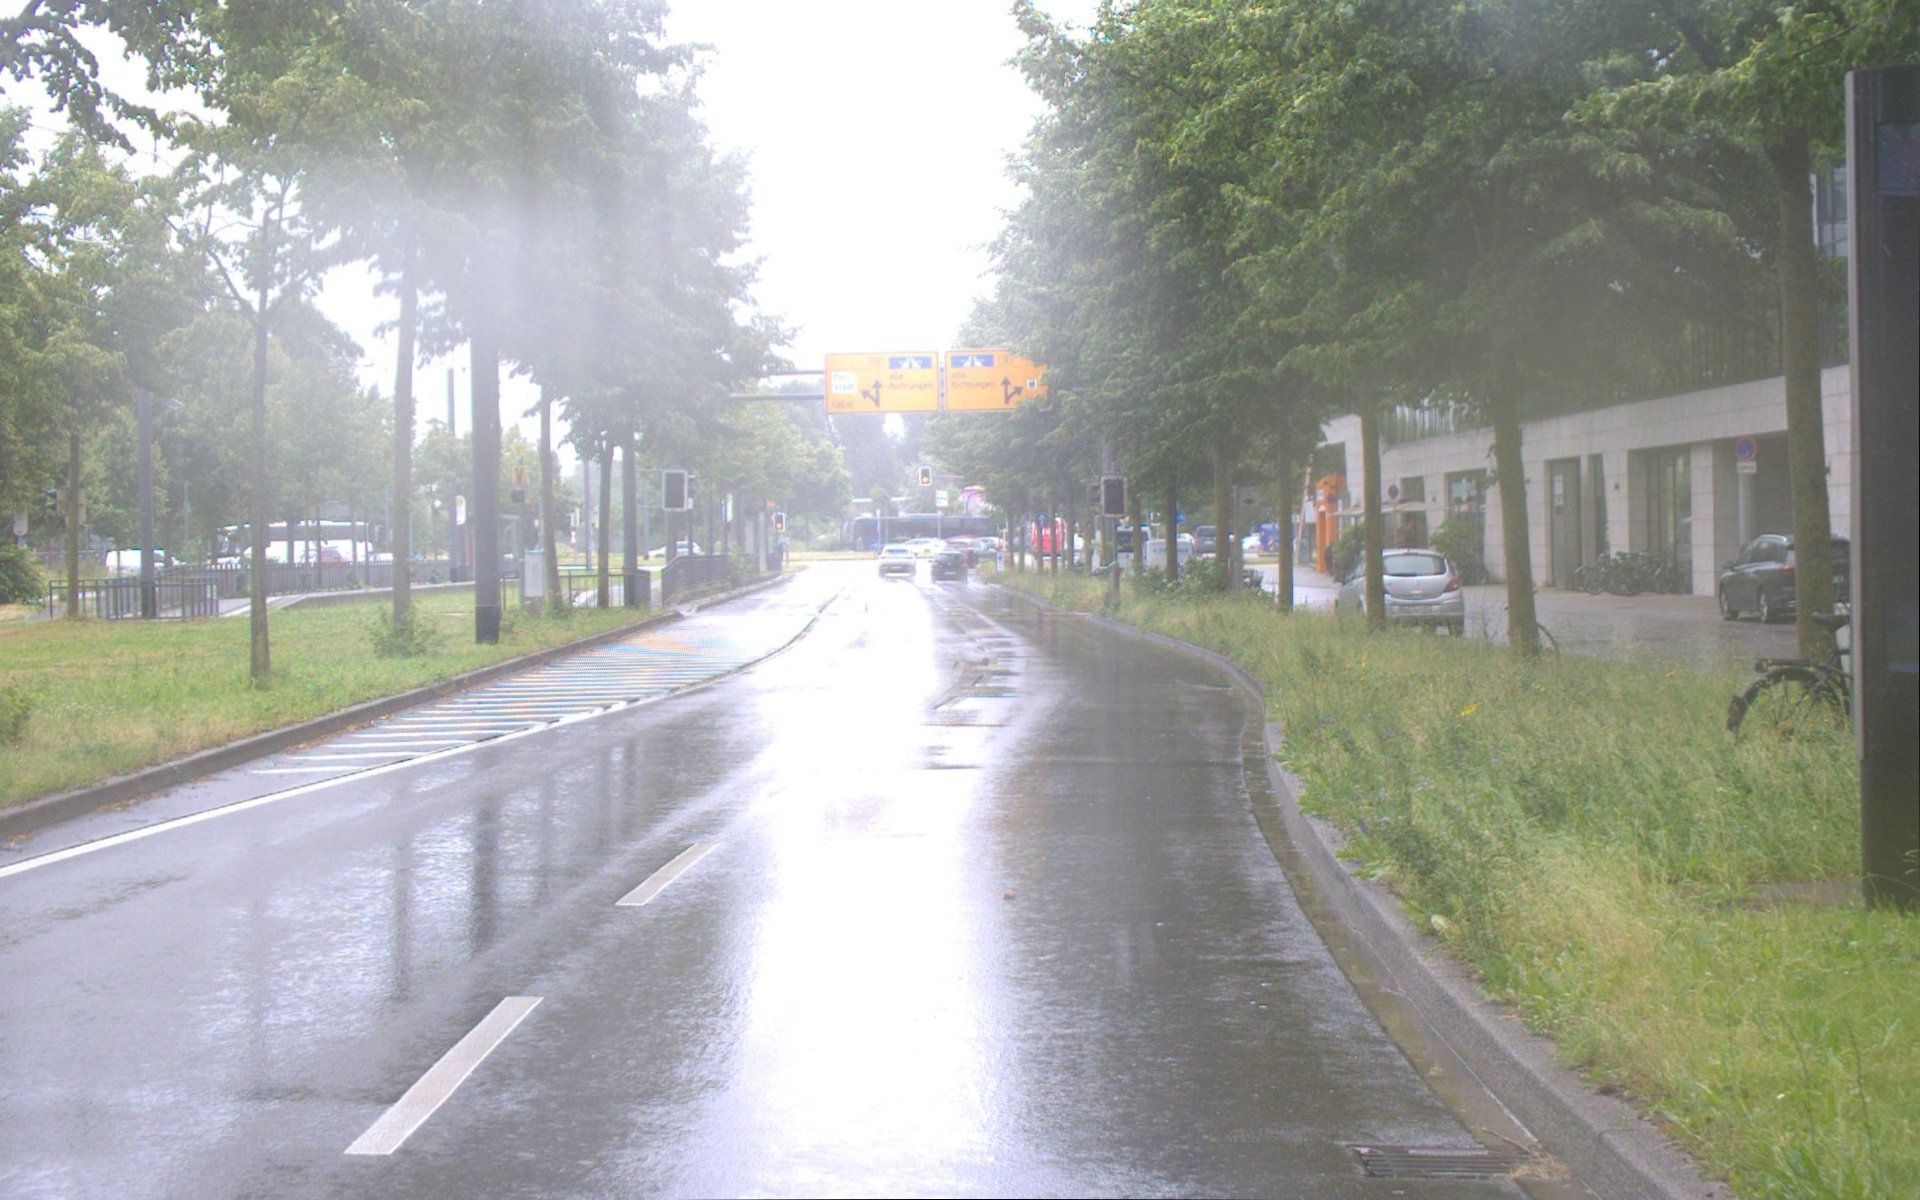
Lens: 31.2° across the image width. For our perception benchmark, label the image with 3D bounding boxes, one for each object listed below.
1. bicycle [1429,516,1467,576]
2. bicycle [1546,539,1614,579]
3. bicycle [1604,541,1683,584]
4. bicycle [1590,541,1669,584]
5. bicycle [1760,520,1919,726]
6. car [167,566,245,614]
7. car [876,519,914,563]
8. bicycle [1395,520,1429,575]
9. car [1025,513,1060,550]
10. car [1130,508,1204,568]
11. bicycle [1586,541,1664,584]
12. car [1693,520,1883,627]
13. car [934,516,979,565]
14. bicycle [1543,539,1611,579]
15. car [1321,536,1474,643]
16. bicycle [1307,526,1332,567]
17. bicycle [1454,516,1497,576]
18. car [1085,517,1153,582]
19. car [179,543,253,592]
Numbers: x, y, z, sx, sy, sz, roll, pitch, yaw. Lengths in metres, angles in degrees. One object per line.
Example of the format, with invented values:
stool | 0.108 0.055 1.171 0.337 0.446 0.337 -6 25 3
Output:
bicycle | 15.238 -1.701 107.483 0.644 1.716 3.121 -1 3 -2
bicycle | 16.128 -1.064 89.461 1.694 1.025 0.423 -1 1 2
bicycle | 16.430 -0.901 82.665 1.806 1.025 0.401 -1 1 2
bicycle | 16.342 -0.909 83.944 1.806 1.025 0.541 -1 1 2
bicycle | 5.821 0.125 20.374 2.035 1.192 0.491 -1 1 -1
car | -22.971 -0.322 104.810 1.548 1.262 4.853 -1 2 -3
car | -3.282 -2.989 173.479 1.888 2.006 4.001 -1 3 -1
bicycle | 15.338 -1.788 116.825 0.644 1.716 3.121 -1 3 -2
car | 4.916 -4.100 204.813 1.993 2.006 4.001 -1 3 0
car | 6.397 -1.918 106.630 1.906 1.785 4.688 -1 1 -1
bicycle | 16.362 -0.915 84.551 1.806 1.025 0.541 -1 1 2
car | 14.159 -0.491 59.091 1.994 1.496 5.034 -5 2 1
car | -0.188 -2.677 154.464 1.940 2.006 4.001 -1 3 -1
bicycle | 16.135 -1.068 89.944 1.694 1.025 0.423 -1 1 2
car | 7.302 -0.213 57.800 1.881 1.500 4.725 -1 3 -1
bicycle | 14.626 -2.194 140.002 0.666 1.529 2.765 -1 3 -1
bicycle | 16.035 -1.687 107.043 0.772 1.716 3.121 -1 3 -2
car | 5.780 -1.855 125.342 2.121 2.266 4.565 -1 1 -1
car | -22.650 -0.968 104.807 1.488 1.293 4.977 -2 -1 -4
